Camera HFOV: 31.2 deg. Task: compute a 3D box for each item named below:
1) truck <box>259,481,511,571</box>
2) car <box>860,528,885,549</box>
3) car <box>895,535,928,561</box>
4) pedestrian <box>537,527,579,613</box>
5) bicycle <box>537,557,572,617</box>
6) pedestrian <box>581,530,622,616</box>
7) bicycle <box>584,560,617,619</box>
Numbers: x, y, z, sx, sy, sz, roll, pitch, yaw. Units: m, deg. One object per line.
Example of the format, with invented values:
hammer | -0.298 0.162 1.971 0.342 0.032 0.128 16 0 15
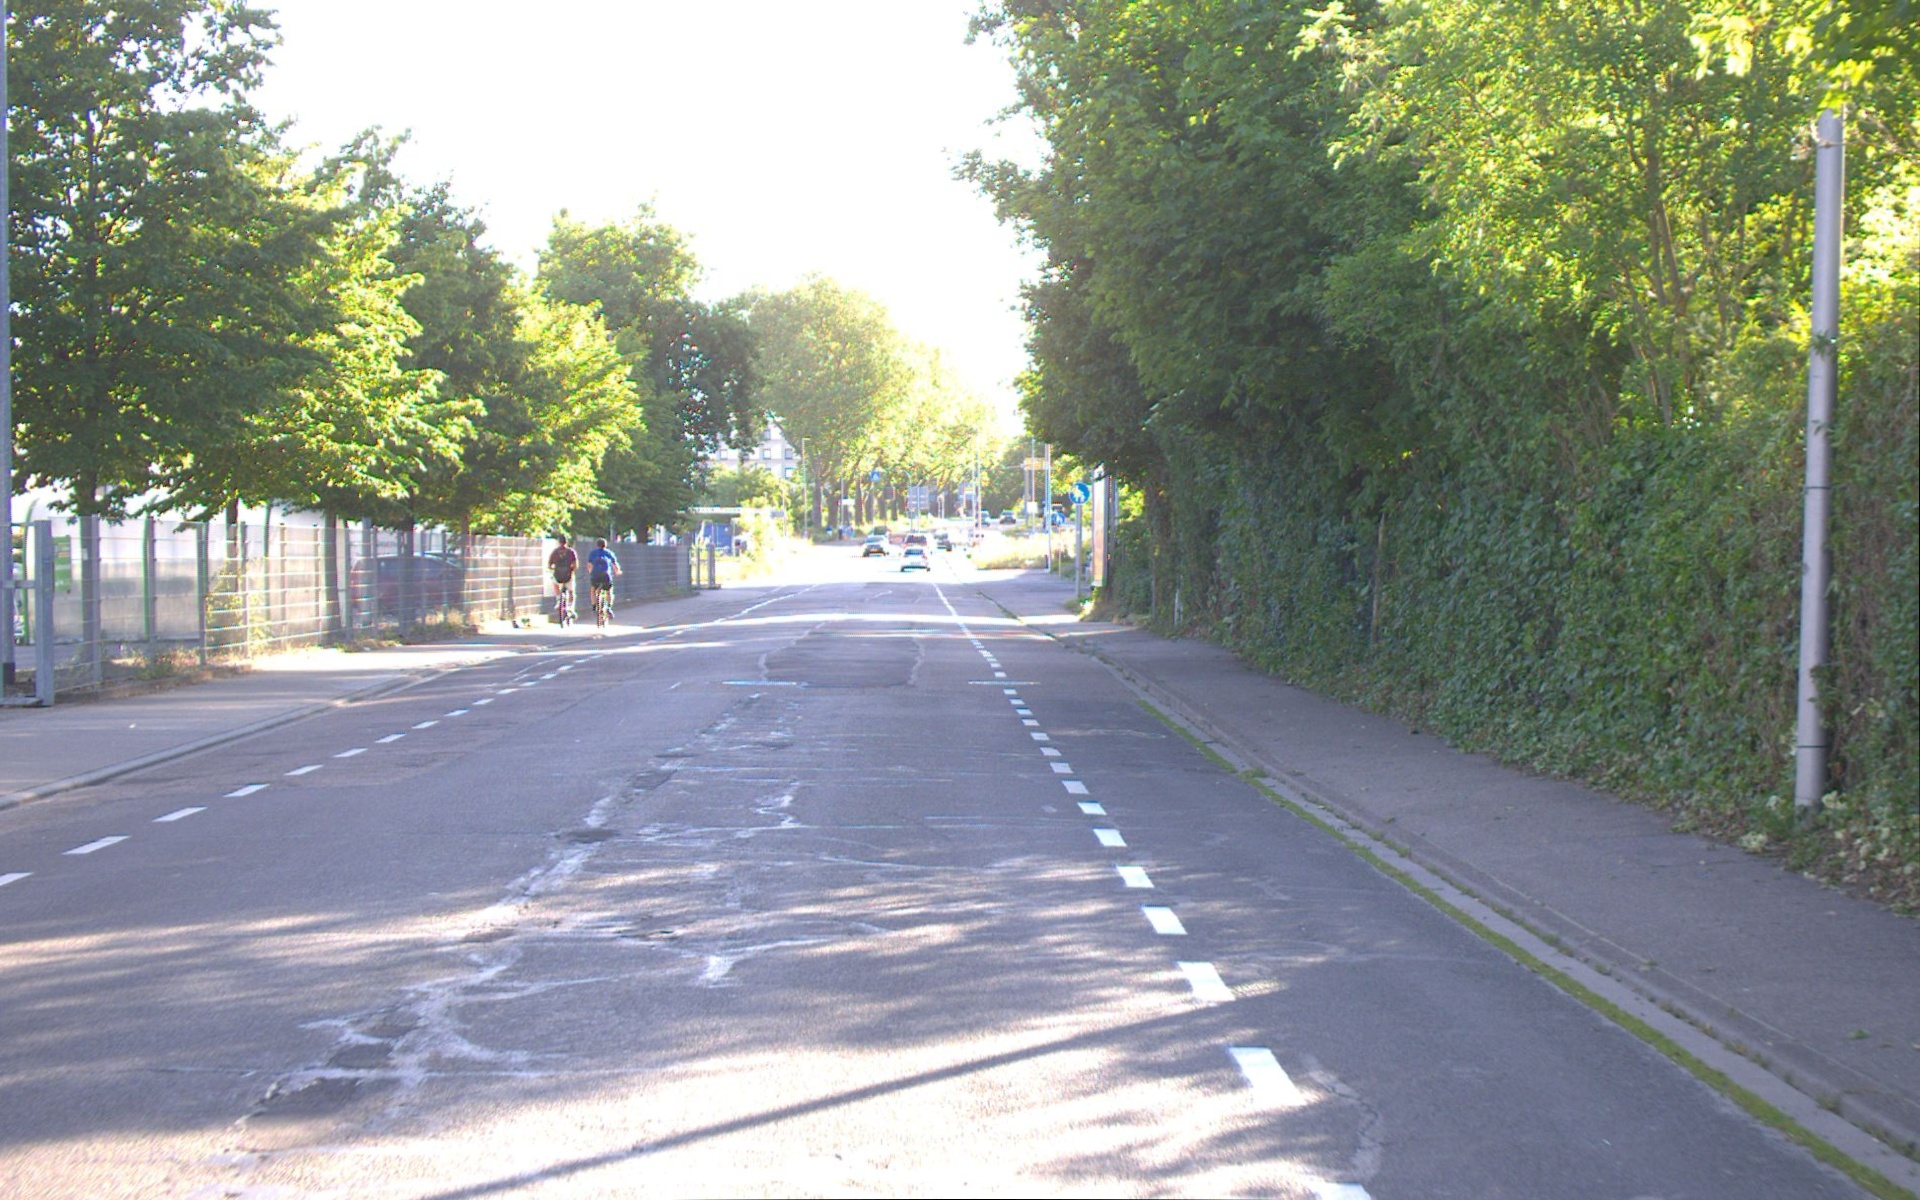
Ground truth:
truck | -24.087 -3.075 144.335 10.097 3.602 2.776 1 0 -1
car | -6.455 -4.546 252.554 1.740 1.521 4.112 0 1 -3
car | -2.821 -3.034 199.779 1.790 1.415 4.000 1 2 1
pedestrian | -8.085 -0.606 69.201 0.721 1.715 1.057 0 1 -1
bicycle | -8.123 -0.272 68.899 0.470 1.144 1.869 1 1 -1
pedestrian | -7.201 -0.547 69.048 0.721 1.715 1.057 0 1 -1
bicycle | -7.200 -0.218 68.871 0.446 1.144 2.201 1 1 -1
